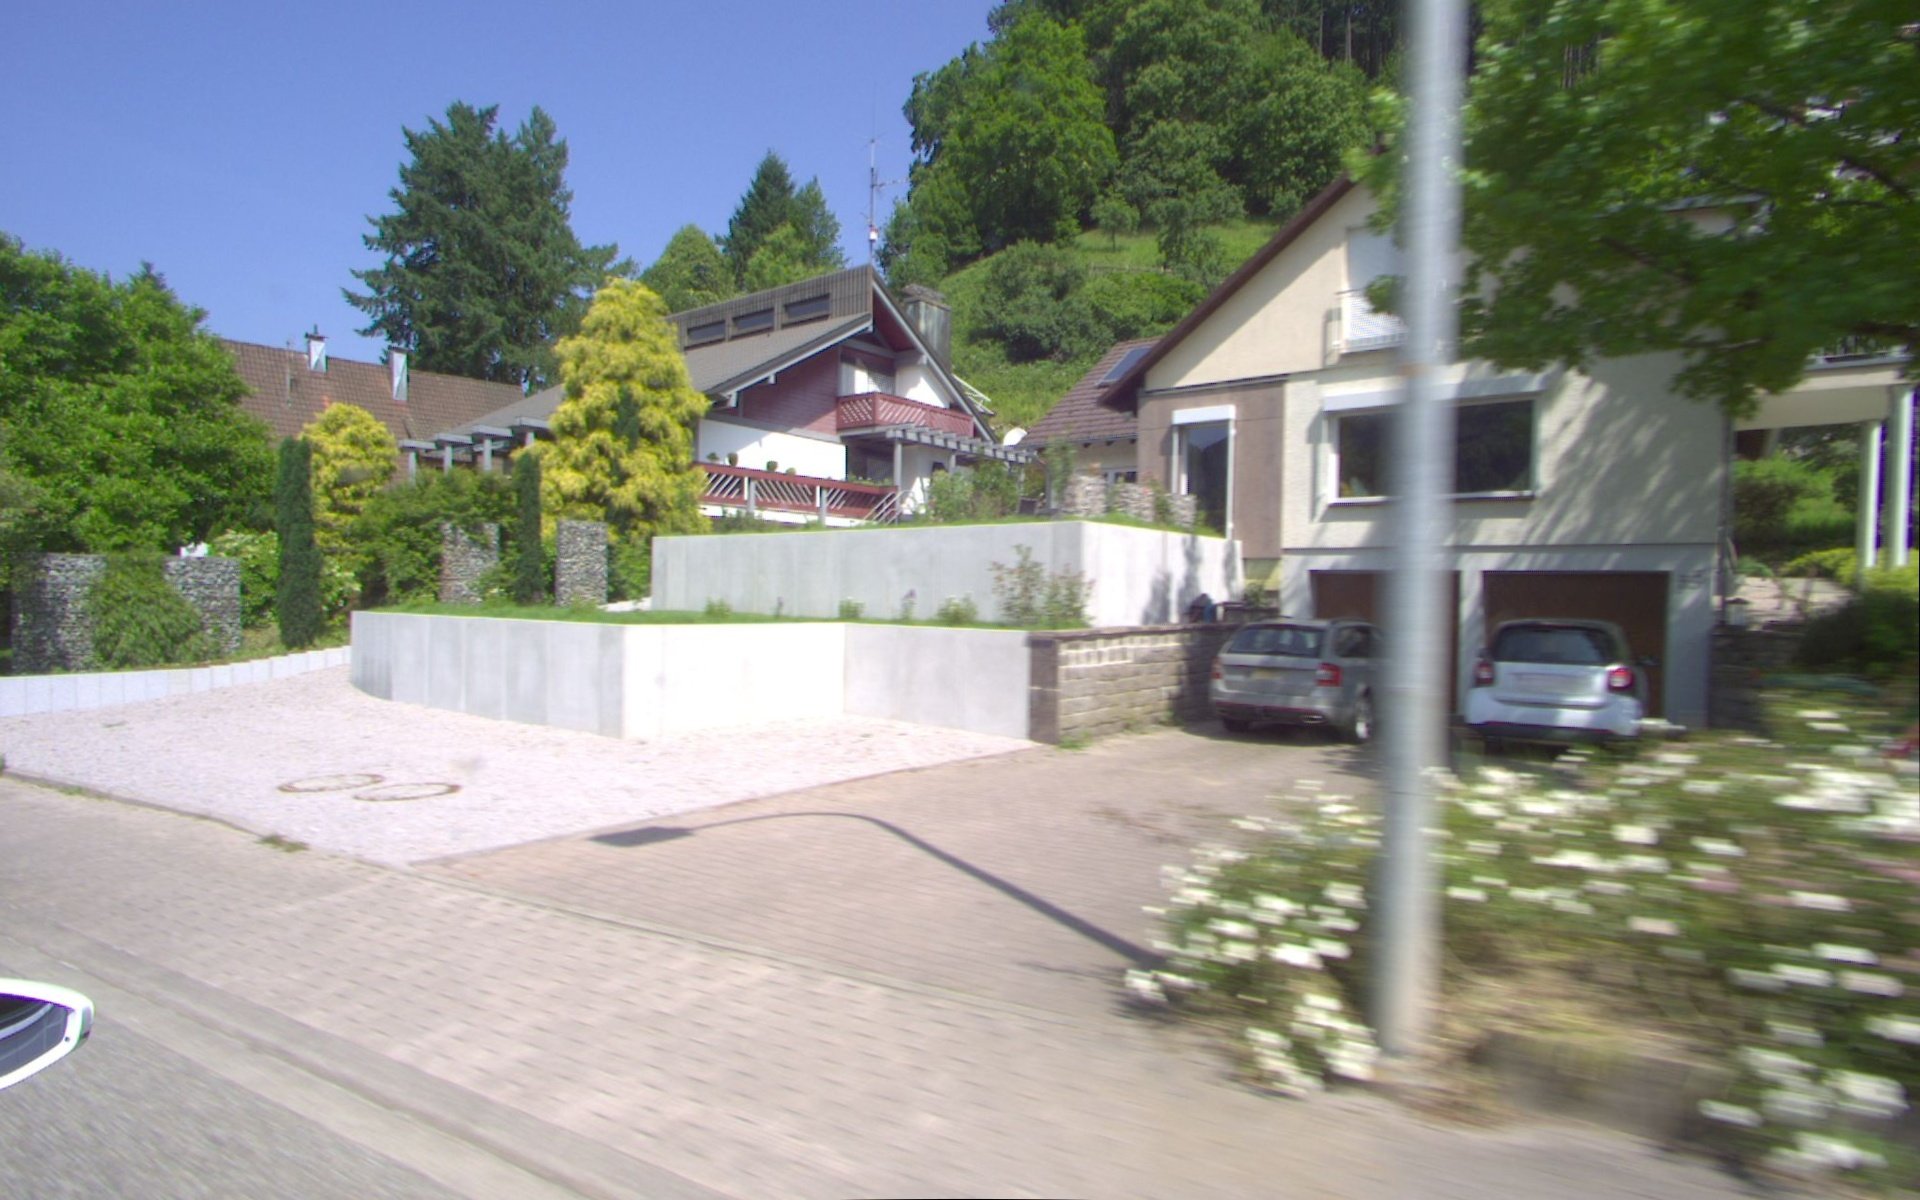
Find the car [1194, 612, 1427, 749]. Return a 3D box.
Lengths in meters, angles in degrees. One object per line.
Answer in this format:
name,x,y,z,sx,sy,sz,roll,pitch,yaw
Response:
car,4.619,0.917,12.898,1.702,1.489,3.719,0,-1,39

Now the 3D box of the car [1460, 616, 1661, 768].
car,7.145,0.947,11.784,1.731,1.517,3.209,0,-1,36
